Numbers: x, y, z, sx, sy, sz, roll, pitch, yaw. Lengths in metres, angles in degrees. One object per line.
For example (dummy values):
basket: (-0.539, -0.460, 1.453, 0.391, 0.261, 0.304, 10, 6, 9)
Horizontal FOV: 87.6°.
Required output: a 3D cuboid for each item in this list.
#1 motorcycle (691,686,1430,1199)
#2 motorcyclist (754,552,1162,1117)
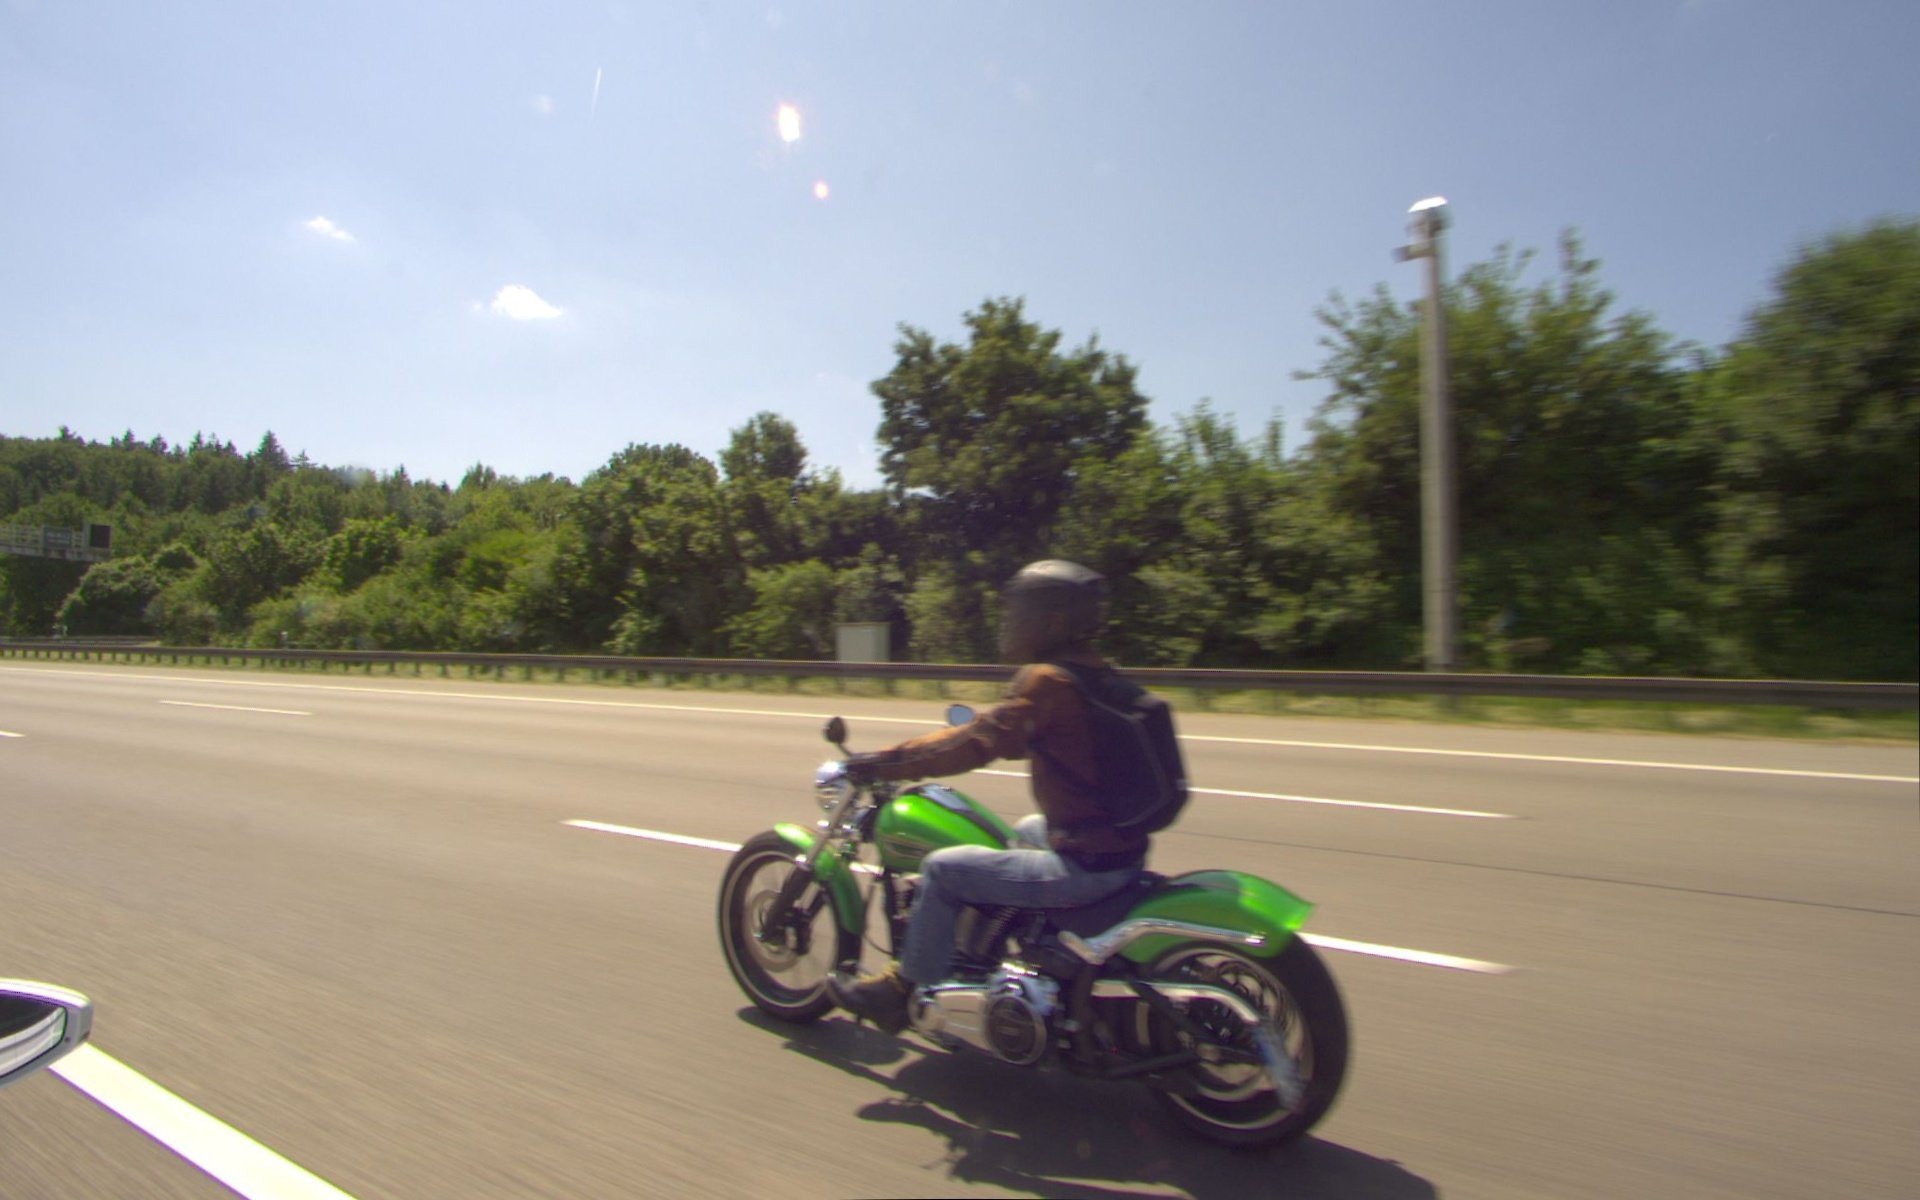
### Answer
motorcycle: (0.121, 0.907, 3.148, 2.406, 1.150, 0.534, -1, -1, 38)
motorcyclist: (-0.002, 0.613, 3.216, 1.010, 1.446, 0.849, 0, 0, 38)
